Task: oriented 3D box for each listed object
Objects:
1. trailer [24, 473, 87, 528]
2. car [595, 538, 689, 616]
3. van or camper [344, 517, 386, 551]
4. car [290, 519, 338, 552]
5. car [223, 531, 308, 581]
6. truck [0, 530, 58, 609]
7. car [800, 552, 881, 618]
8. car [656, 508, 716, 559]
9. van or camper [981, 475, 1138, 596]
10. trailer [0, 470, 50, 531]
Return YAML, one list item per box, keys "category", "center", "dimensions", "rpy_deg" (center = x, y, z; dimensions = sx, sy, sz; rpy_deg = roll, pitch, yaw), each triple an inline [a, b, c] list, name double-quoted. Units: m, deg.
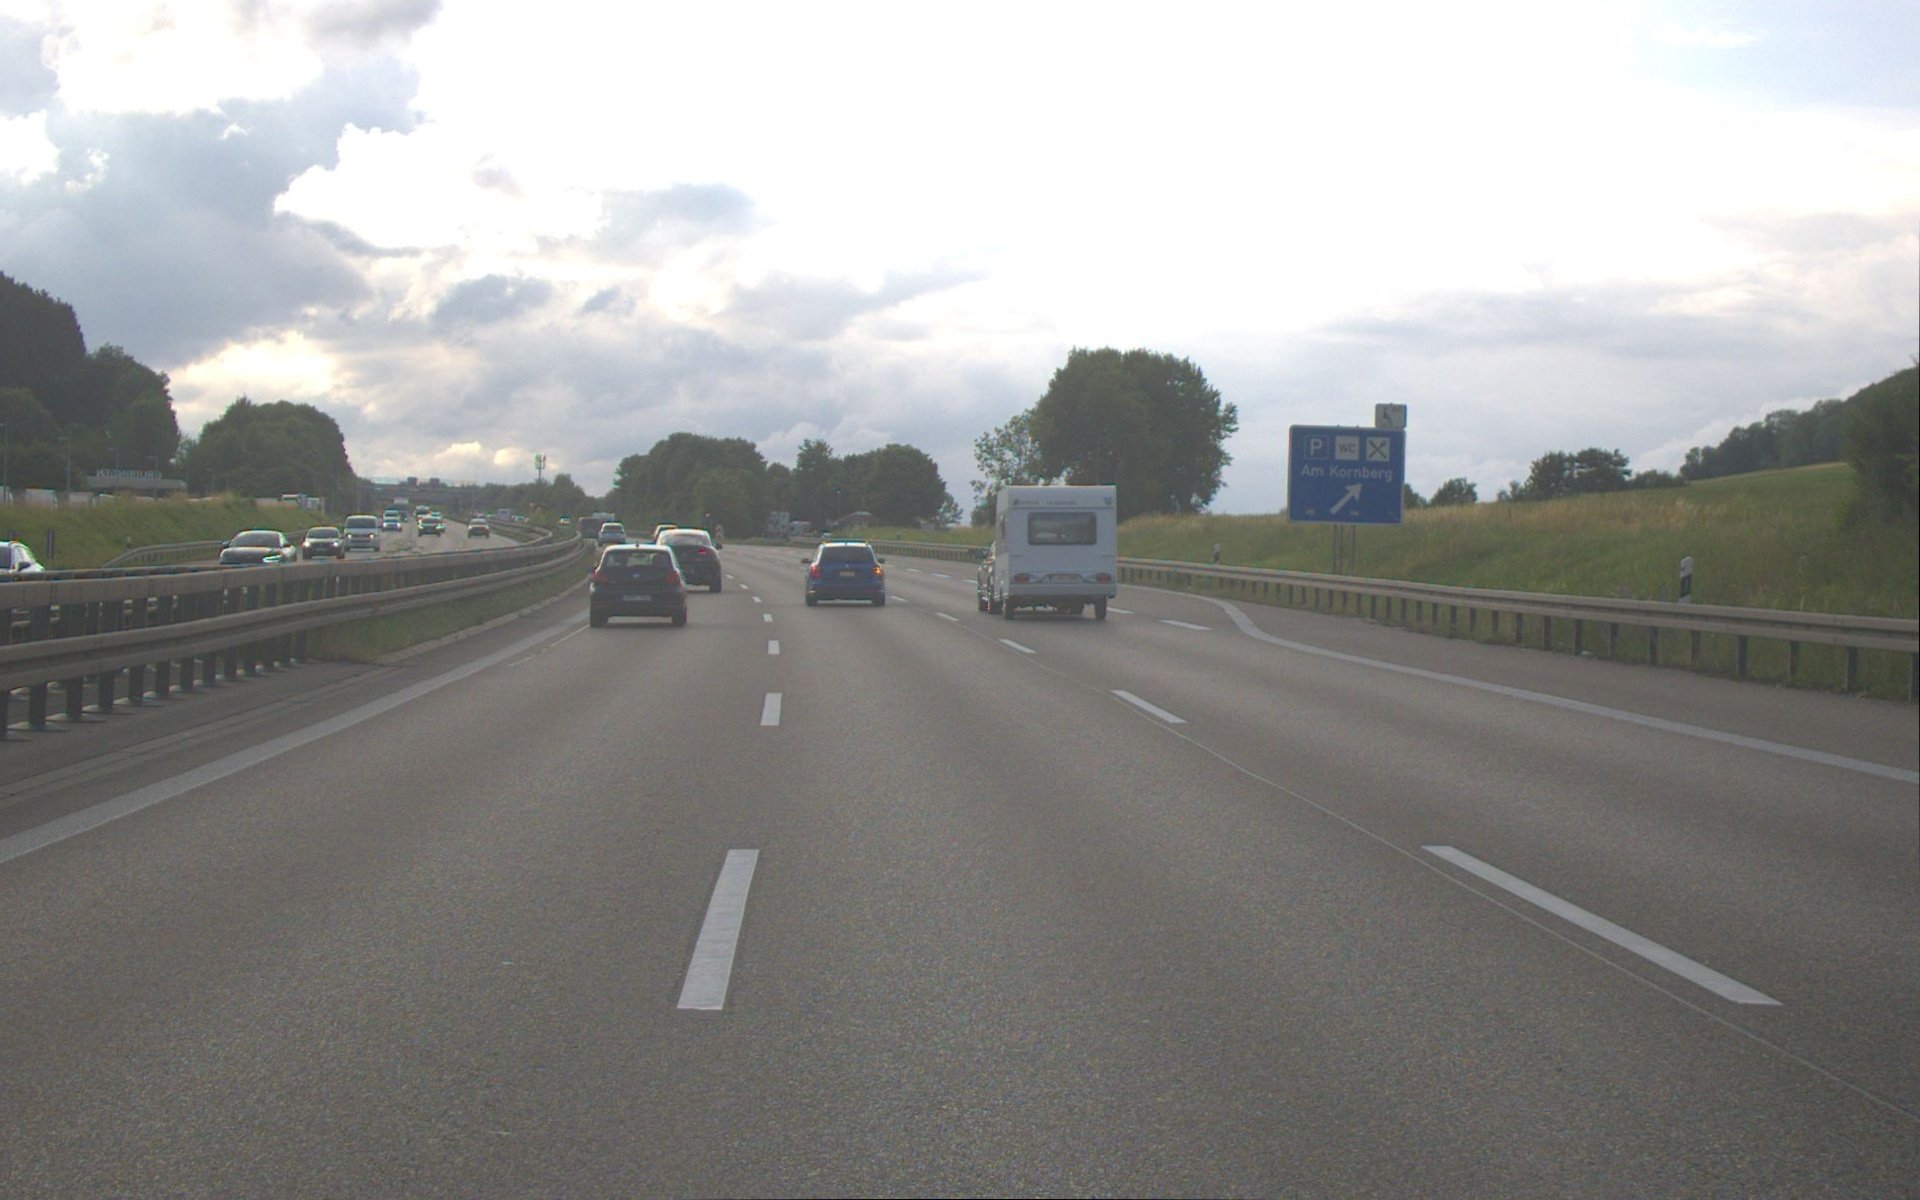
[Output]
- category: "trailer"
  center: [-62.102, -6.811, 236.282]
  dimensions: [2.876, 3.683, 10.376]
  rpy_deg: [-1, 1, -8]
- category: "car"
  center: [-5.658, -0.433, 61.497]
  dimensions: [1.538, 1.343, 3.677]
  rpy_deg: [0, 1, -3]
- category: "van or camper"
  center: [-32.874, -3.646, 190.104]
  dimensions: [1.915, 1.867, 4.756]
  rpy_deg: [0, 1, -5]
- category: "car"
  center: [-30.016, -3.011, 159.800]
  dimensions: [1.993, 1.492, 4.693]
  rpy_deg: [0, 1, -8]
- category: "car"
  center: [-21.666, -1.365, 107.428]
  dimensions: [1.993, 1.492, 4.693]
  rpy_deg: [-1, 1, -4]
- category: "truck"
  center: [-17.688, -0.574, 61.900]
  dimensions: [1.993, 1.360, 4.647]
  rpy_deg: [0, 1, -4]
- category: "car"
  center: [-2.719, -0.366, 77.934]
  dimensions: [1.766, 1.428, 4.000]
  rpy_deg: [-1, 1, -2]
- category: "car"
  center: [-7.567, -1.847, 94.714]
  dimensions: [1.565, 1.375, 4.001]
  rpy_deg: [0, 1, -6]
- category: "van or camper"
  center: [1.859, -1.205, 66.302]
  dimensions: [2.547, 2.232, 5.329]
  rpy_deg: [0, 0, -3]
- category: "trailer"
  center: [-58.830, -6.167, 214.057]
  dimensions: [2.876, 3.683, 10.376]
  rpy_deg: [-1, 1, -8]
